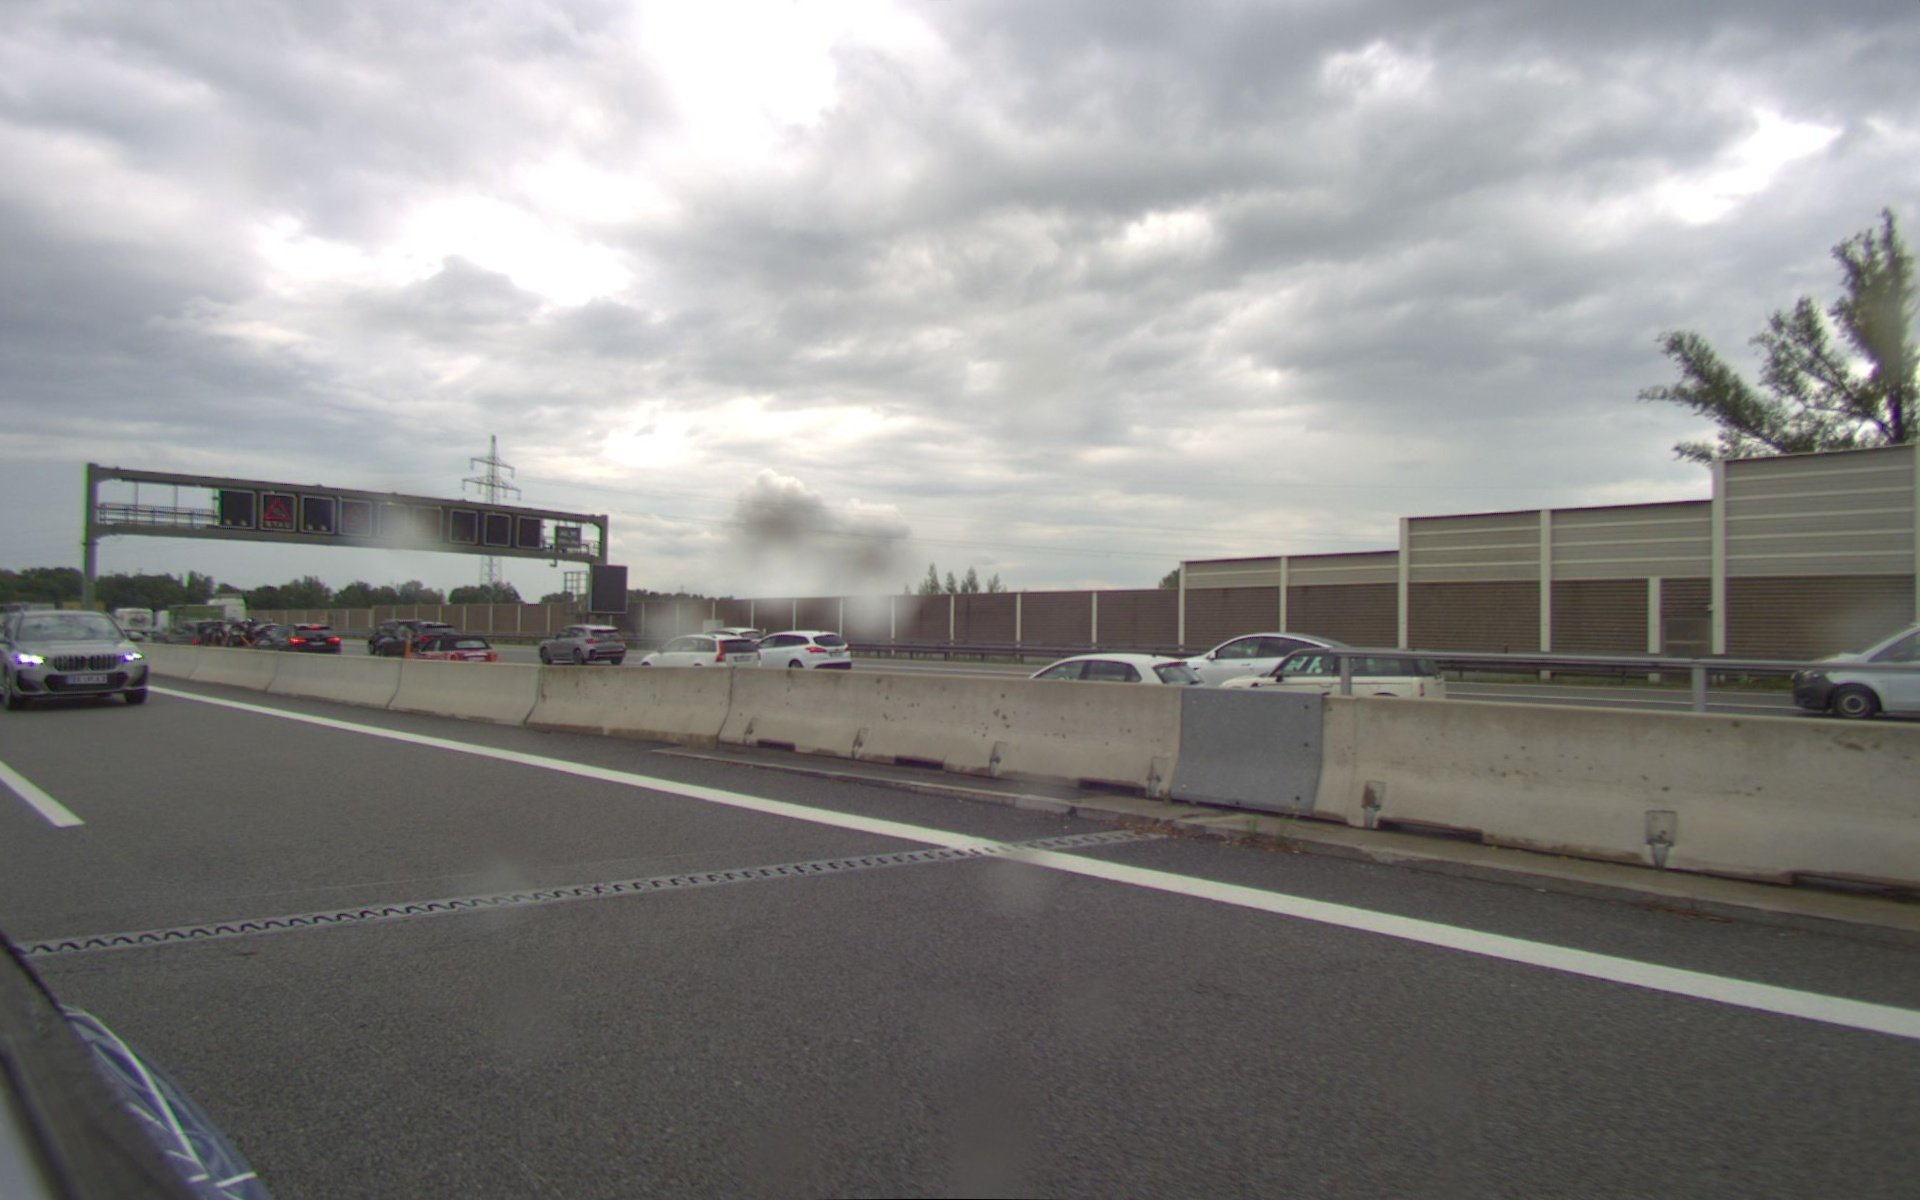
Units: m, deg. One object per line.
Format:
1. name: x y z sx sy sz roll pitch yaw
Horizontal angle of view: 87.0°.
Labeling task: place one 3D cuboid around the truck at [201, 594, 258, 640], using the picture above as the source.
1. truck: -64.156 1.535 88.836 6.047 3.917 2.724 -2 -2 41

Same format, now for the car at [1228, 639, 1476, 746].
1. car: 6.604 1.475 17.252 3.618 1.592 1.603 -2 -2 42

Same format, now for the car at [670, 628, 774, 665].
1. car: -9.908 1.897 41.920 4.569 1.411 1.845 -2 -2 40

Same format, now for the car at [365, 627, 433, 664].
1. car: -29.531 2.361 53.213 4.162 1.862 1.730 -2 -2 40

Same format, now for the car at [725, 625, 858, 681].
1. car: -5.366 1.629 31.968 4.388 1.643 1.730 -2 -2 40

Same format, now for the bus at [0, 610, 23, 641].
1. bus: -118.253 3.138 124.920 10.629 3.707 2.626 -1 -2 41

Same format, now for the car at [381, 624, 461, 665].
1. car: -22.943 1.876 43.009 4.165 1.643 1.728 -2 -2 43

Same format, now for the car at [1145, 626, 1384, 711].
1. car: 6.470 1.402 21.814 4.640 1.643 1.730 -2 -2 39

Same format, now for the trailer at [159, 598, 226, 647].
1. trailer: -51.477 1.530 67.844 6.047 3.162 2.424 -2 -2 41

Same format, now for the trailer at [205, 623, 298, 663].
1. trailer: -32.664 1.944 46.588 6.043 1.722 2.121 -1 -2 41

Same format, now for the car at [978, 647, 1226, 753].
1. car: 2.141 1.461 15.777 3.574 1.404 1.555 -2 -2 42

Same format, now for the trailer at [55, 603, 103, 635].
1. trailer: -115.163 2.530 132.248 12.968 3.963 2.997 -1 -2 41

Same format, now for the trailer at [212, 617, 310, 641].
1. trailer: -57.504 2.400 82.960 16.341 1.842 2.724 -2 -2 41

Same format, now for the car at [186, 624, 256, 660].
1. car: -36.694 2.038 50.226 4.804 1.722 1.797 -1 -2 41

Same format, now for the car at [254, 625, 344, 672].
1. car: -26.838 1.929 41.004 5.109 1.758 1.860 -2 -2 43

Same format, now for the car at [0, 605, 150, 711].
1. car: -16.082 0.965 17.993 4.912 1.637 1.817 -2 -1 42

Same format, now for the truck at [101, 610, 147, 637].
1. truck: -90.705 2.519 109.769 7.830 2.835 2.663 -1 -2 41

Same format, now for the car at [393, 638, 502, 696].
1. car: -15.806 2.004 31.147 3.746 1.643 1.729 -2 -2 41

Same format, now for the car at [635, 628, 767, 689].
1. car: -7.543 1.630 29.258 4.165 1.643 1.728 -2 -2 43

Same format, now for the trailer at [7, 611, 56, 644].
1. trailer: -121.057 3.632 131.822 14.286 3.991 2.857 -2 -1 40

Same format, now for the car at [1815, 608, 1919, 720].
1. car: 17.722 1.088 17.231 4.779 1.908 1.729 -2 -2 41

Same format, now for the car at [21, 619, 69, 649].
1. car: -73.129 2.700 80.846 5.510 2.254 2.207 -1 -2 41

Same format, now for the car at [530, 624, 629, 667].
1. car: -15.458 1.804 41.017 4.523 1.643 1.803 -2 -2 41
